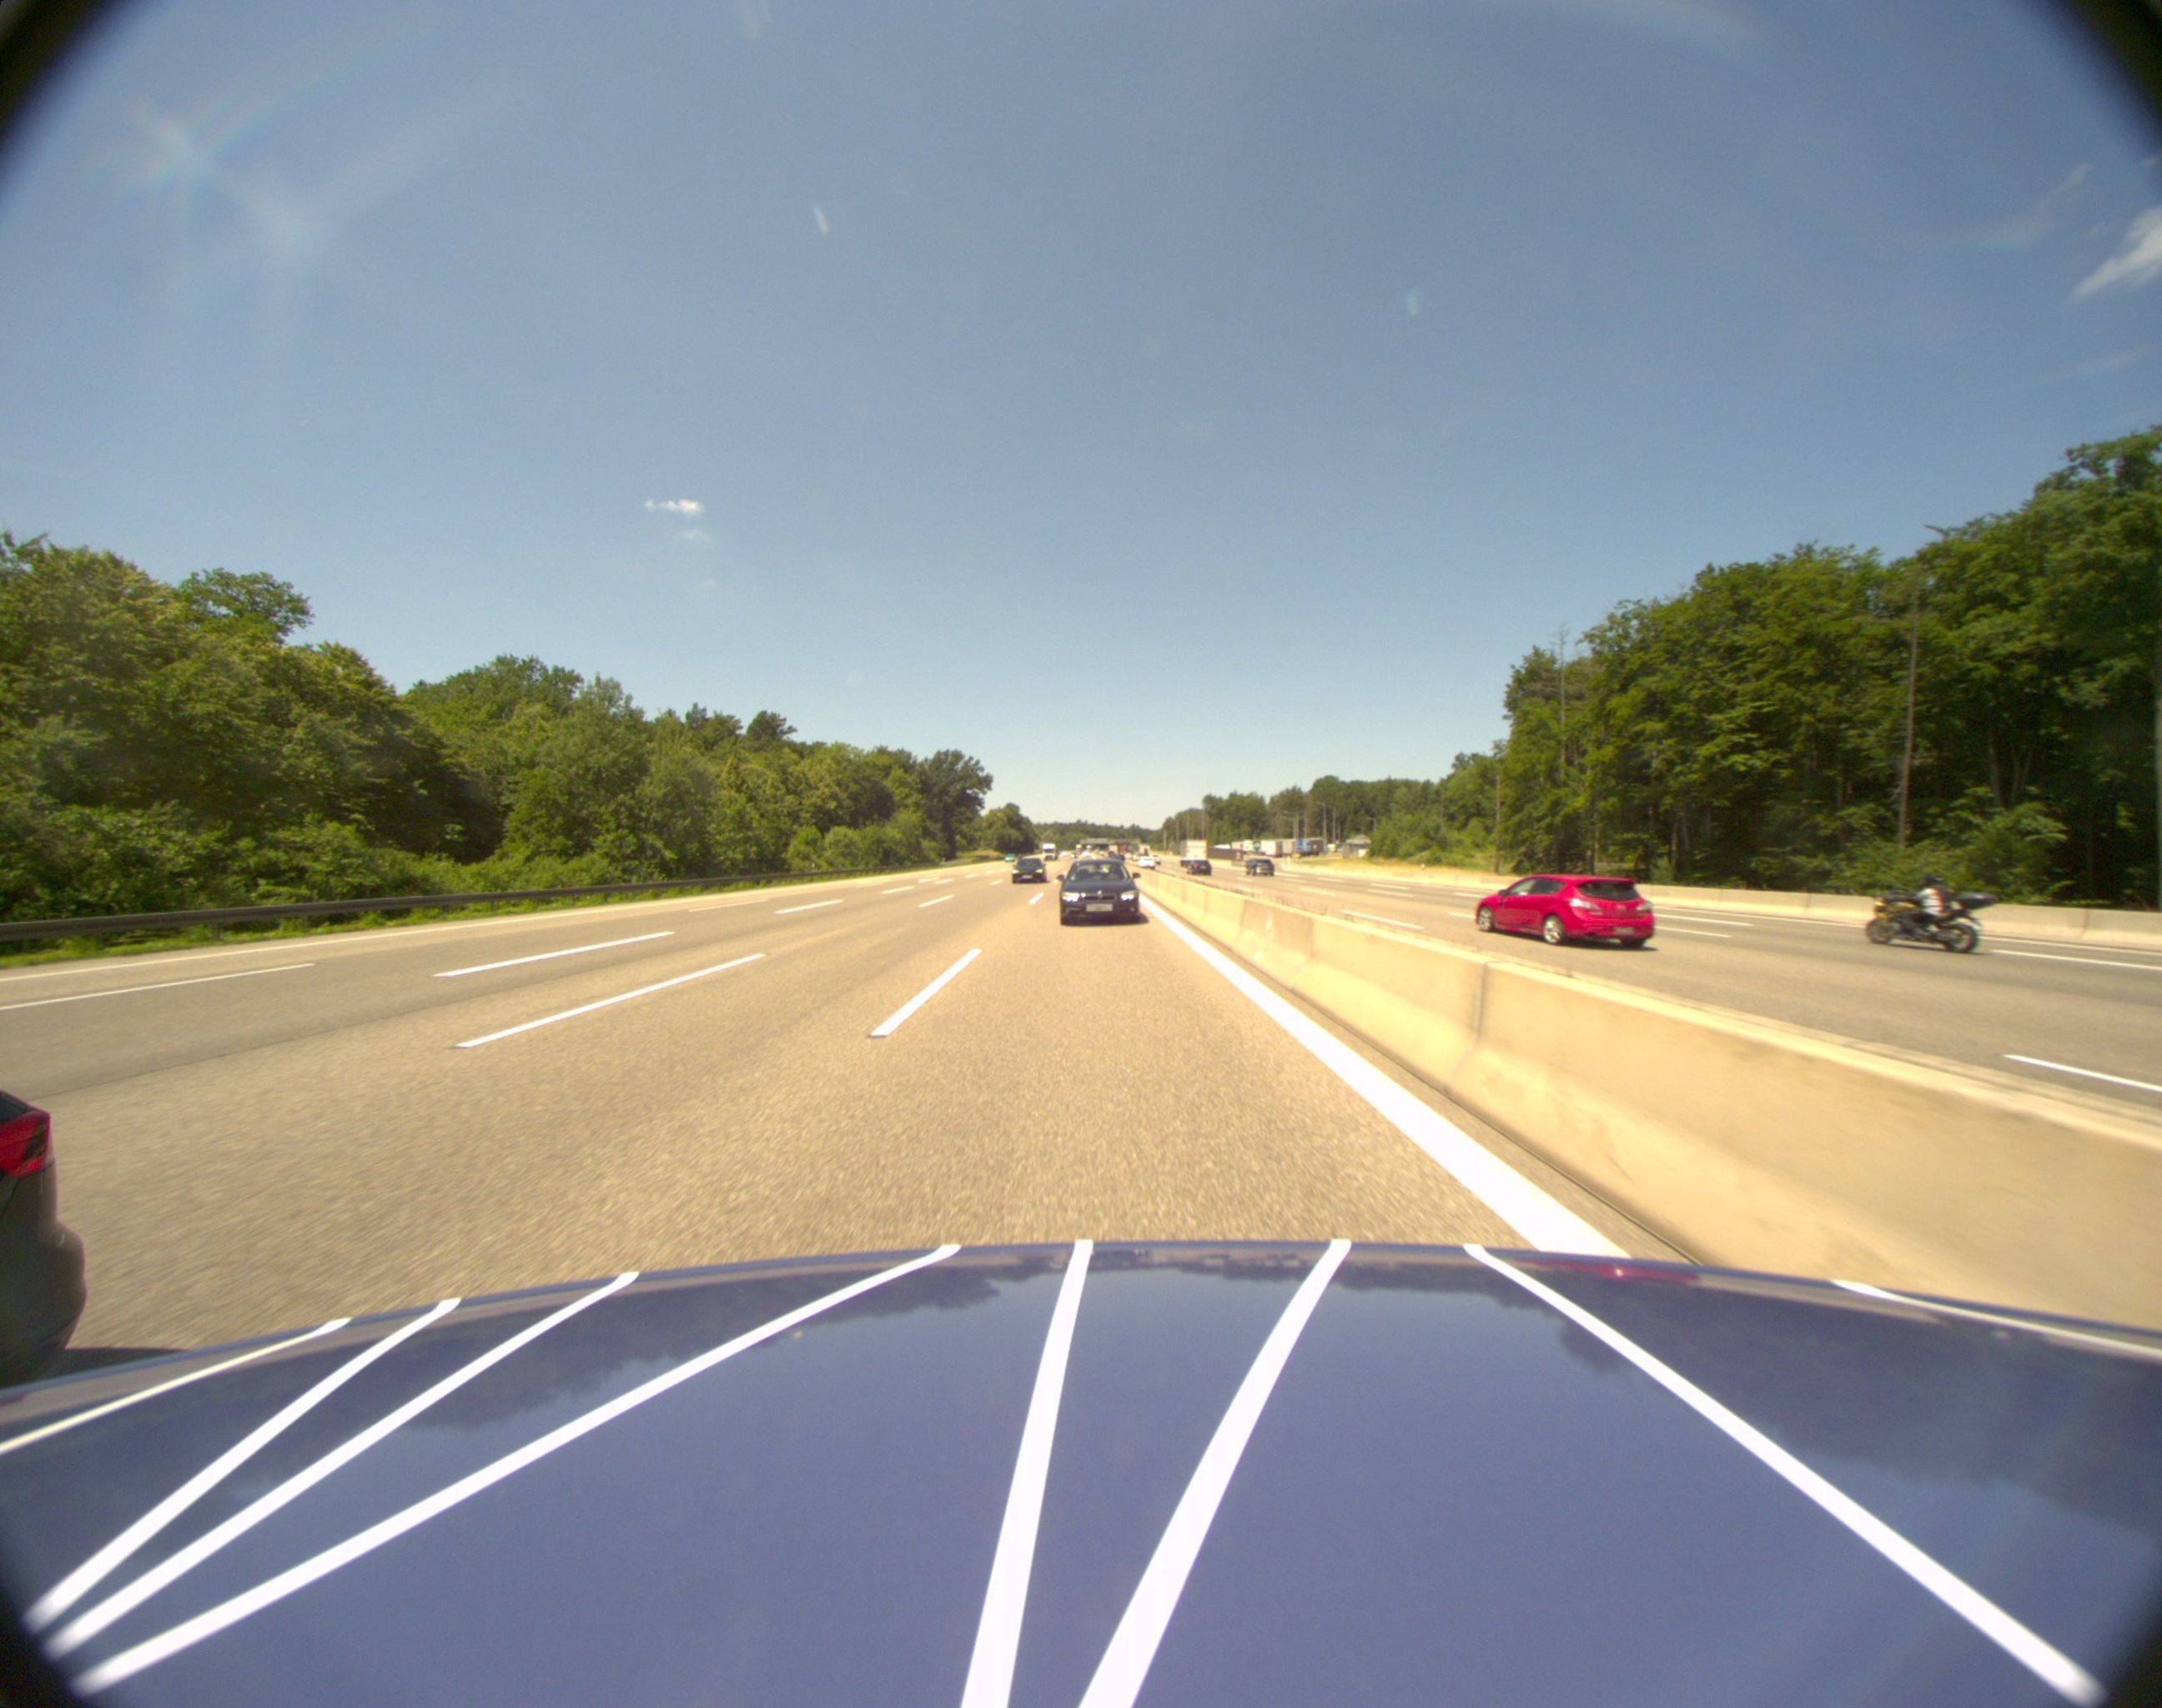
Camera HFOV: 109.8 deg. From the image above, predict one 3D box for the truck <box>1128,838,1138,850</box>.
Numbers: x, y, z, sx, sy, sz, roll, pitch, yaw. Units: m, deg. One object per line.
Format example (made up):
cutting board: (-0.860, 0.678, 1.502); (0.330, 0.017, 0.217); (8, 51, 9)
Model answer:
truck: (16.711, -3.240, 243.520); (2.584, 3.819, 7.016); (1, 1, 1)

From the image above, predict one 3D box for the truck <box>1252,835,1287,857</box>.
truck: (48.784, -2.105, 196.848); (11.562, 5.580, 3.219); (0, 1, -45)

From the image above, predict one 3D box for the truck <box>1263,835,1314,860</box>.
truck: (48.572, -1.598, 177.183); (16.746, 5.580, 3.440); (0, 1, -44)

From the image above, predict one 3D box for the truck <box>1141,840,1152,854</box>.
truck: (21.036, -2.217, 244.415); (2.842, 4.173, 10.595); (0, 1, 1)

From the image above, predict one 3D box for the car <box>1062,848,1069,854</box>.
car: (-4.578, -0.875, 230.534); (1.874, 1.560, 4.127); (0, 0, 1)

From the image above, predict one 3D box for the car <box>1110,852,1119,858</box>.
car: (7.913, 0.188, 177.571); (1.917, 1.456, 4.587); (0, 1, 0)

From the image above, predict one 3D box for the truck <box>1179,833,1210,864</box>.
truck: (14.980, -0.760, 101.041); (2.865, 3.990, 9.467); (0, 1, 1)

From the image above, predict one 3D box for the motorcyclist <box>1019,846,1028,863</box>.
motorcyclist: (-6.744, 0.036, 88.687); (0.914, 1.926, 0.905); (1, 1, 0)

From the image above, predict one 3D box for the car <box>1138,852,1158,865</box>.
car: (7.525, 0.537, 85.445); (1.829, 1.386, 4.464); (0, 0, -1)

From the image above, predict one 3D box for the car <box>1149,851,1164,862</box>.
car: (11.842, 0.390, 119.295); (1.917, 1.651, 4.688); (1, 0, 0)

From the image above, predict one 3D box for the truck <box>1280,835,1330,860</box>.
truck: (51.998, -1.529, 175.497); (16.746, 5.580, 3.214); (0, 1, -44)

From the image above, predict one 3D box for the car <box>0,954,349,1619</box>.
car: (-3.431, 1.079, 0.118); (1.734, 1.439, 4.961); (-1, 0, 1)

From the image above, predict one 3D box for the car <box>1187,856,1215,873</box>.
car: (10.573, 0.922, 66.982); (1.706, 1.419, 4.613); (1, 0, 0)

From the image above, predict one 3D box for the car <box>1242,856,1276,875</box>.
car: (16.320, 1.043, 69.914); (2.052, 1.665, 5.188); (1, 0, 1)

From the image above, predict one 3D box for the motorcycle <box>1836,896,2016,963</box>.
motorcycle: (17.887, 1.545, 16.236); (0.779, 1.135, 2.756); (1, 0, 1)

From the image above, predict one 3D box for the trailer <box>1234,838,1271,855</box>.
trailer: (50.436, -2.139, 222.923); (14.597, 5.043, 3.214); (0, 1, -45)

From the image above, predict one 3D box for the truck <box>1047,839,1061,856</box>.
truck: (-5.310, -1.260, 151.643); (2.429, 3.237, 8.688); (1, 1, -1)

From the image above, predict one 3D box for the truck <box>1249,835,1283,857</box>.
truck: (49.277, -2.169, 202.350); (11.562, 5.580, 3.219); (0, 1, -45)

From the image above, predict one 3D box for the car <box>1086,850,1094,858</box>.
car: (2.430, -0.025, 197.154); (1.998, 1.935, 4.128); (0, 0, 2)

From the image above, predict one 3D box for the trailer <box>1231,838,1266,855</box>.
trailer: (51.707, -2.265, 234.154); (14.597, 5.043, 3.120); (0, 1, -45)

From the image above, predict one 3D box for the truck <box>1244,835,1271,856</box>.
truck: (47.821, -2.225, 205.719); (8.506, 5.580, 3.219); (0, 1, -45)

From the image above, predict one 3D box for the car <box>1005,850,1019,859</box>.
car: (-12.807, 0.124, 141.693); (1.998, 1.671, 4.127); (1, 1, 2)

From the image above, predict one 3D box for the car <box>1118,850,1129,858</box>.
car: (7.928, 0.050, 142.855); (1.917, 1.456, 4.362); (0, 1, 0)

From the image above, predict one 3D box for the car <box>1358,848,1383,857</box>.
car: (60.370, -0.312, 158.431); (4.733, 2.002, 2.088); (0, 1, 15)

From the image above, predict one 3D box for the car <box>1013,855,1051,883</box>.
car: (-2.738, 0.815, 43.236); (1.834, 1.454, 4.203); (1, 1, 1)

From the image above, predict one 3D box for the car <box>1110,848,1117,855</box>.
car: (9.127, -0.795, 215.205); (1.903, 1.942, 5.656); (1, 1, 0)

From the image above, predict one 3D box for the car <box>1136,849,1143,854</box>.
car: (16.952, -0.742, 221.602); (1.757, 1.478, 3.814); (2, 1, 0)

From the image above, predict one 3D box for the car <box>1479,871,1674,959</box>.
car: (10.345, 1.192, 16.262); (1.576, 1.503, 4.030); (1, 0, 1)

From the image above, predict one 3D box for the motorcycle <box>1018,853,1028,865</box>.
motorcycle: (-6.736, 0.569, 88.838); (0.925, 1.311, 2.997); (0, 1, 1)

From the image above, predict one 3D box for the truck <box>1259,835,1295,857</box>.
truck: (50.049, -2.042, 193.372); (11.562, 5.580, 3.358); (0, 1, -45)

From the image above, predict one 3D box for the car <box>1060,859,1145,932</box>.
car: (0.510, 0.889, 18.211); (1.741, 1.450, 4.542); (-1, 0, 2)

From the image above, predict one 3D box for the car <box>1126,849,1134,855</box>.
car: (12.033, -0.568, 186.753); (1.765, 1.455, 4.839); (0, 1, 0)

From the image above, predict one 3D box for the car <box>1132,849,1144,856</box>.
car: (11.455, -0.297, 152.865); (1.917, 1.503, 5.231); (1, 0, 0)

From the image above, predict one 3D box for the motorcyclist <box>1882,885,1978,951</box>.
motorcyclist: (17.936, 1.329, 16.081); (0.771, 1.294, 1.077); (1, 1, 1)

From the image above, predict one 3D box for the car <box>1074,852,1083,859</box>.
car: (-0.644, 0.359, 182.153); (1.998, 1.671, 4.127); (1, 1, 2)
